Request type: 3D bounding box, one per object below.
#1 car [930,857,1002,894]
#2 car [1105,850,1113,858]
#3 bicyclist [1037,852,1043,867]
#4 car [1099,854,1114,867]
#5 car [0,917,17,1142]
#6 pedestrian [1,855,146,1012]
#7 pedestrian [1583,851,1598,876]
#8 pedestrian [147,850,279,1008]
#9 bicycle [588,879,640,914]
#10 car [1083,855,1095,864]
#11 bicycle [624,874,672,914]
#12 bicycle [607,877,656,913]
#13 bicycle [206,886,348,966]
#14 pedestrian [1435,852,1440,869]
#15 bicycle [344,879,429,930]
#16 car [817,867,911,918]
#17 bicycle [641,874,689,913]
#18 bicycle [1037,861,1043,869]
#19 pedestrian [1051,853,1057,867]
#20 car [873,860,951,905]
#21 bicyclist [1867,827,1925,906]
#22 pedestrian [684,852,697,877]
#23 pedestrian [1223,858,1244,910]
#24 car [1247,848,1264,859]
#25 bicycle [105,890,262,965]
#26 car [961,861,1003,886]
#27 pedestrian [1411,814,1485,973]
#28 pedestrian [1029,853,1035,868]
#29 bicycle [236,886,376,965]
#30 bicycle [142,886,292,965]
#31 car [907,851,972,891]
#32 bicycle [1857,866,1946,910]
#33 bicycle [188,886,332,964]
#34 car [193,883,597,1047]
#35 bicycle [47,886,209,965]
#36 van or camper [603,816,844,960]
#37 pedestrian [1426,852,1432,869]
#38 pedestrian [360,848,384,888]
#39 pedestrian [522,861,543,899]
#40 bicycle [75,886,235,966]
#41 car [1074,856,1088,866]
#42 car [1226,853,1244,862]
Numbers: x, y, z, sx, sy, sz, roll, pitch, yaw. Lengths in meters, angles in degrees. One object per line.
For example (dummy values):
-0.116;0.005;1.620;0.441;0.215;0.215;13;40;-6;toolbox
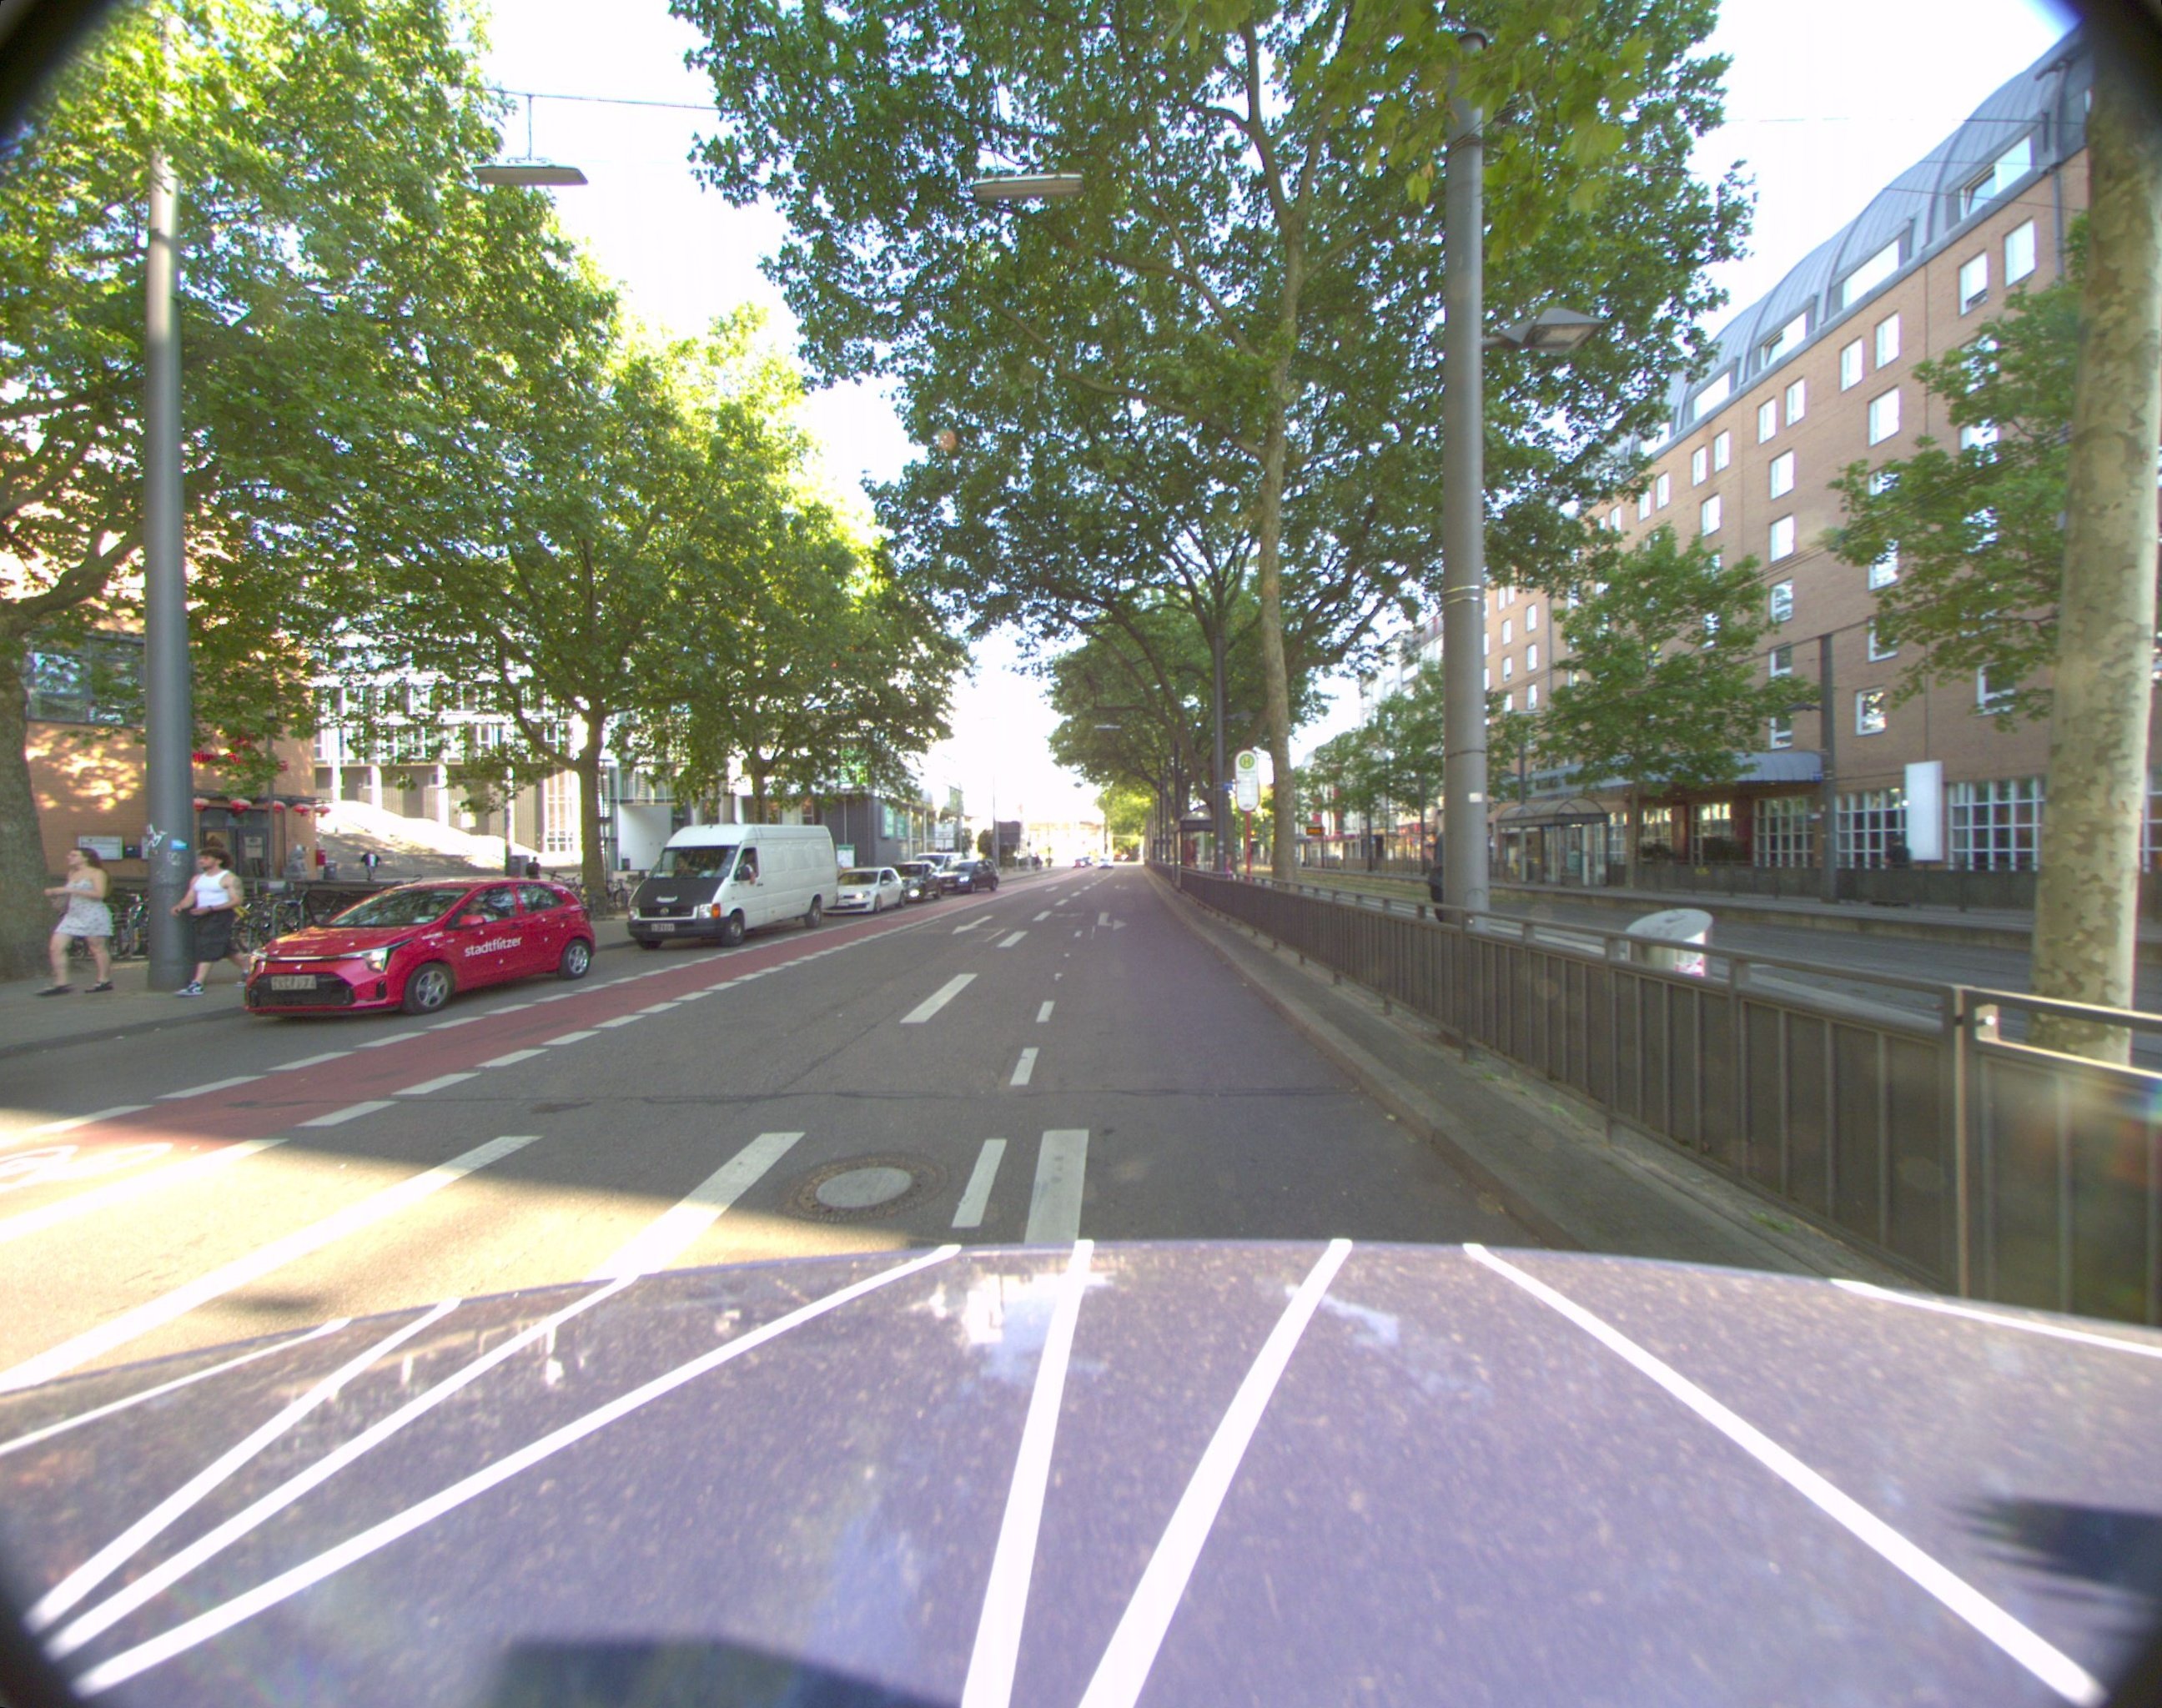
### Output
-5.524;1.007;37.159;1.964;1.610;4.335;-1;0;14;car
7.672;-0.015;206.348;1.998;2.002;4.001;0;0;4;car
-4.556;0.613;84.370;0.673;1.707;0.715;-1;1;1;bicyclist
3.231;0.812;95.216;1.733;1.432;4.000;-2;0;2;car
-7.994;1.168;2.936;1.743;1.476;4.251;-1;0;0;car
-11.889;0.896;8.996;0.648;1.766;0.764;-1;1;-6;pedestrian
29.084;0.539;43.340;0.519;1.427;0.516;-1;1;4;pedestrian
-10.609;0.889;9.322;0.644;1.834;0.813;3;0;-13;pedestrian
-15.223;1.359;24.806;0.516;1.027;1.850;0;0;1;bicycle
1.314;0.951;128.746;1.801;1.438;4.001;0;0;3;car
-14.118;1.292;24.832;0.495;1.187;1.850;0;0;1;bicycle
-14.662;1.325;24.831;0.522;1.088;1.797;0;0;1;bicycle
-13.823;1.199;13.146;0.448;1.187;1.850;0;0;1;bicycle
31.562;0.593;67.279;0.438;1.511;0.659;0;1;23;pedestrian
-17.869;1.281;19.604;0.517;1.187;1.790;0;0;1;bicycle
-6.955;1.180;24.800;1.682;1.420;4.001;-1;0;3;car
-13.575;1.262;24.853;0.522;1.187;1.850;0;0;1;bicycle
-4.548;1.223;84.349;0.580;0.879;1.671;-1;0;1;bicycle
-3.697;0.802;104.819;0.676;1.853;0.741;-2;1;1;pedestrian
-6.718;1.076;30.608;1.818;1.610;4.229;-1;0;5;car
20.101;0.301;18.751;0.572;1.893;0.813;0;1;6;bicyclist
-33.491;0.878;65.158;0.836;2.144;0.858;-1;1;-23;pedestrian
3.929;0.770;19.635;0.500;1.308;0.419;0;1;8;pedestrian
29.973;-0.084;130.578;1.998;1.696;4.000;-1;0;1;car
-15.428;1.231;13.145;0.485;1.118;1.850;0;0;1;bicycle
-5.973;1.168;46.227;1.801;1.369;4.001;0;0;3;car
4.484;0.463;9.321;0.606;1.873;0.623;-1;3;-1;pedestrian
-5.719;0.766;88.141;0.611;1.644;0.583;-1;1;1;pedestrian
-13.320;1.188;13.140;0.482;1.187;1.850;0;0;1;bicycle
-14.845;1.194;13.137;0.447;1.187;1.850;0;0;1;bicycle
-7.475;0.854;40.550;1.965;1.983;4.960;-1;0;7;car
20.177;0.804;18.739;0.451;0.998;1.753;-1;0;6;bicycle
-14.329;1.195;13.337;0.484;1.187;1.850;0;0;1;bicycle
-7.947;1.172;9.345;1.606;1.449;3.651;-1;0;0;car
-16.390;1.193;13.150;0.435;1.187;1.850;0;0;1;bicycle
-7.538;0.615;17.115;1.998;2.563;6.575;-2;0;3;van or camper
30.913;0.538;67.530;0.438;1.497;0.659;0;1;23;pedestrian
-36.124;0.708;38.717;0.878;2.025;0.584;-1;1;-43;pedestrian
-23.417;1.101;32.454;0.719;1.549;0.639;-1;1;-35;pedestrian
-15.927;1.198;13.147;0.458;1.187;1.850;0;0;1;bicycle
-0.020;0.982;110.524;1.801;1.369;4.001;0;0;3;car
26.654;0.624;131.638;1.999;1.510;3.998;-1;0;-3;car
